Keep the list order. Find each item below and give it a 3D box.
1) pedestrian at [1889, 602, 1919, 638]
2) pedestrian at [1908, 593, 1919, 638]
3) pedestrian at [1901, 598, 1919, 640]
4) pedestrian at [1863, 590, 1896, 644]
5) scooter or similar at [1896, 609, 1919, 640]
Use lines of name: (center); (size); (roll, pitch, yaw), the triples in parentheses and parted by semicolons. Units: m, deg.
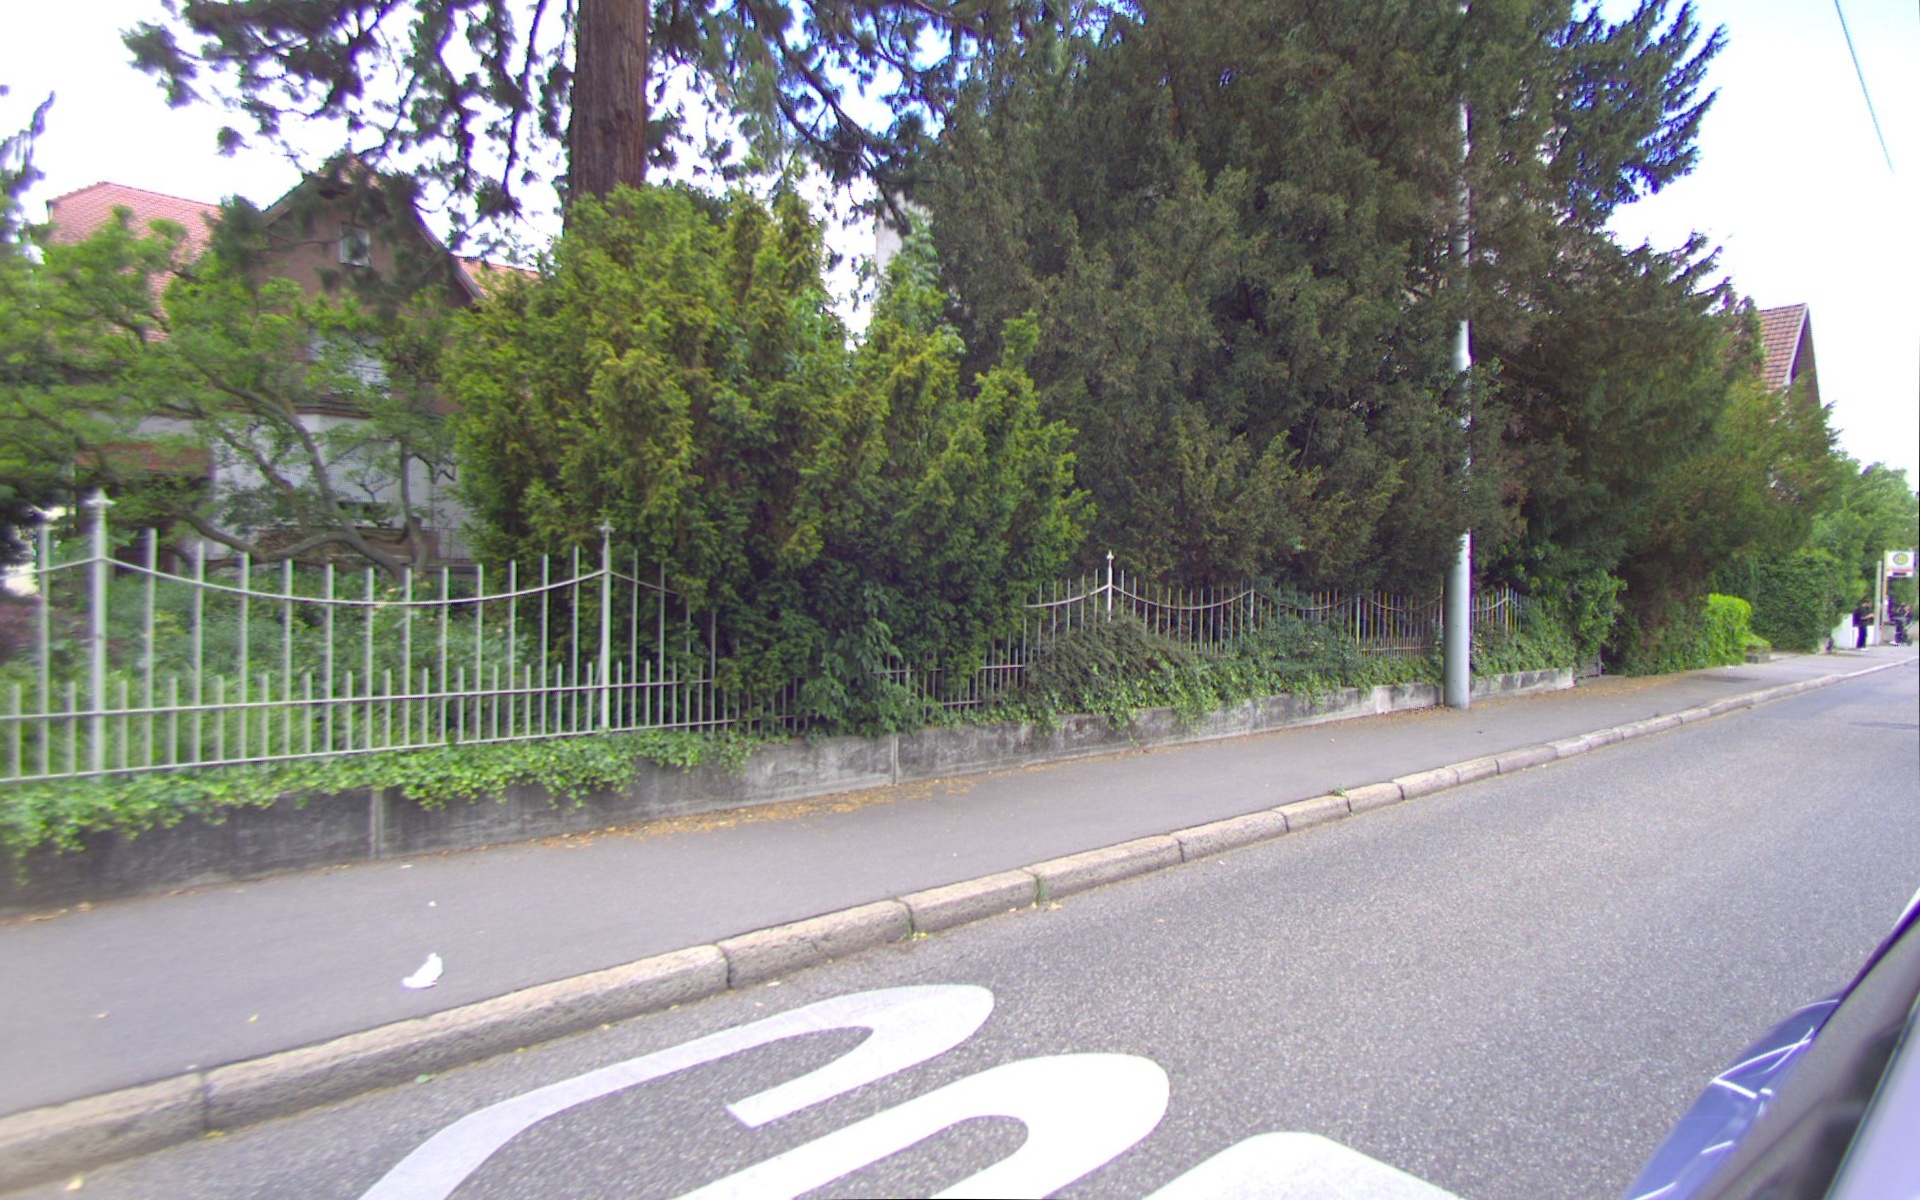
pedestrian: (35.633, 0.754, 38.083); (0.914, 1.266, 0.777); (6, 4, 44)
pedestrian: (38.862, 0.631, 41.118); (0.344, 1.776, 0.489); (6, 4, 44)
pedestrian: (37.003, 0.745, 39.184); (0.736, 1.553, 0.661); (0, 4, -42)
pedestrian: (30.760, 0.572, 33.862); (0.657, 1.789, 0.491); (0, 0, -9)
scooter or similar: (36.397, 0.940, 38.603); (0.842, 1.110, 0.479); (3, 3, 2)
